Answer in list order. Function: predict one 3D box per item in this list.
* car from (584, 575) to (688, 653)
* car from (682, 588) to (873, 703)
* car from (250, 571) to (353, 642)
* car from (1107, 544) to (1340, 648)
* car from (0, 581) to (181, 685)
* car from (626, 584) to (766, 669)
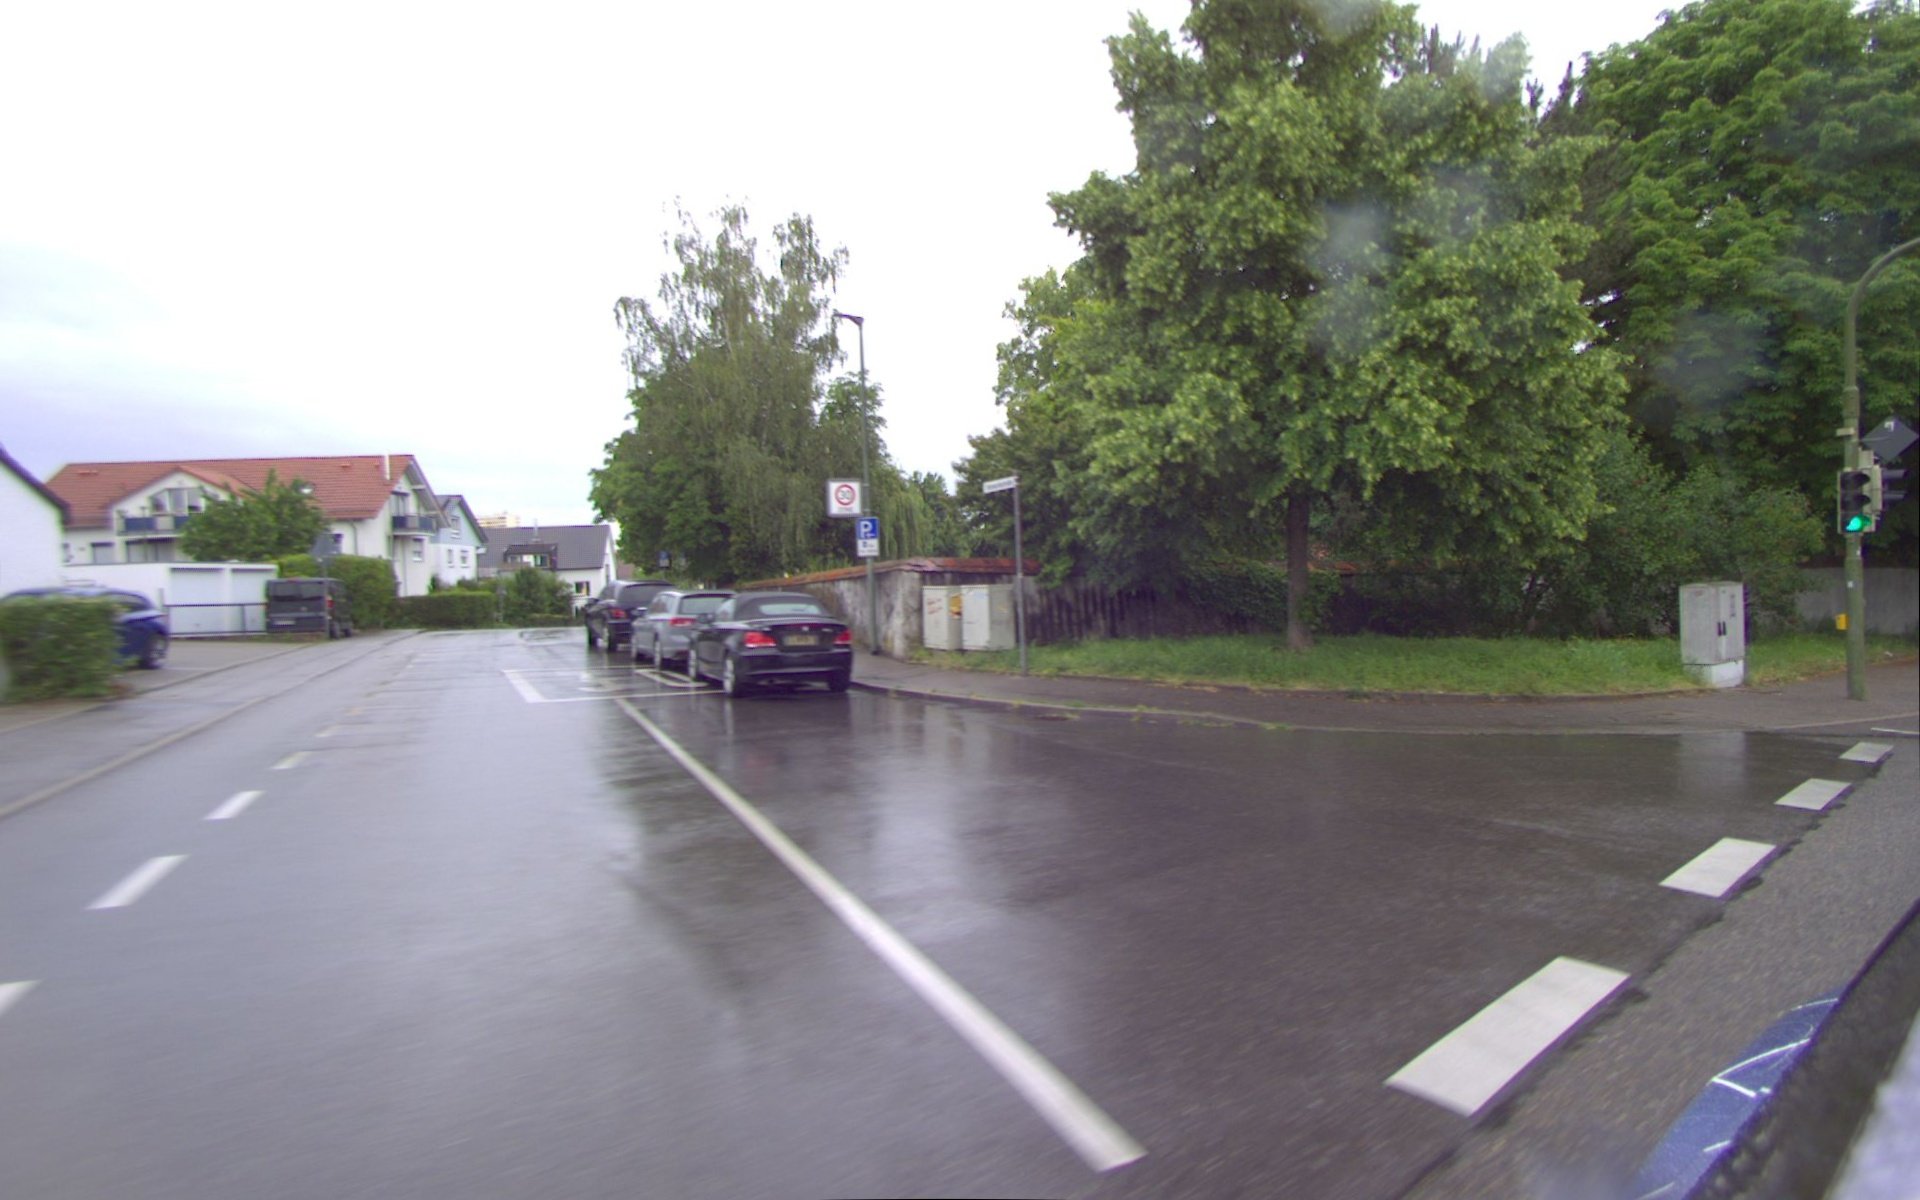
[{"bbox_3d":[-8.045,0.293,24.850,1.795,1.749,4.472,0,0,-26],"label":"car"},{"bbox_3d":[-2.852,0.561,15.062,1.795,1.460,4.172,0,0,-25],"label":"car"},{"bbox_3d":[-20.721,0.141,32.028,1.958,2.038,4.009,0,2,-22],"label":"car"},{"bbox_3d":[4.104,-0.132,16.488,1.815,1.473,4.010,0,2,-17],"label":"car"},{"bbox_3d":[-14.578,0.462,16.288,1.830,1.482,4.008,0,0,-15],"label":"car"},{"bbox_3d":[-5.262,0.440,19.772,1.795,1.460,4.402,0,0,-26],"label":"car"}]
